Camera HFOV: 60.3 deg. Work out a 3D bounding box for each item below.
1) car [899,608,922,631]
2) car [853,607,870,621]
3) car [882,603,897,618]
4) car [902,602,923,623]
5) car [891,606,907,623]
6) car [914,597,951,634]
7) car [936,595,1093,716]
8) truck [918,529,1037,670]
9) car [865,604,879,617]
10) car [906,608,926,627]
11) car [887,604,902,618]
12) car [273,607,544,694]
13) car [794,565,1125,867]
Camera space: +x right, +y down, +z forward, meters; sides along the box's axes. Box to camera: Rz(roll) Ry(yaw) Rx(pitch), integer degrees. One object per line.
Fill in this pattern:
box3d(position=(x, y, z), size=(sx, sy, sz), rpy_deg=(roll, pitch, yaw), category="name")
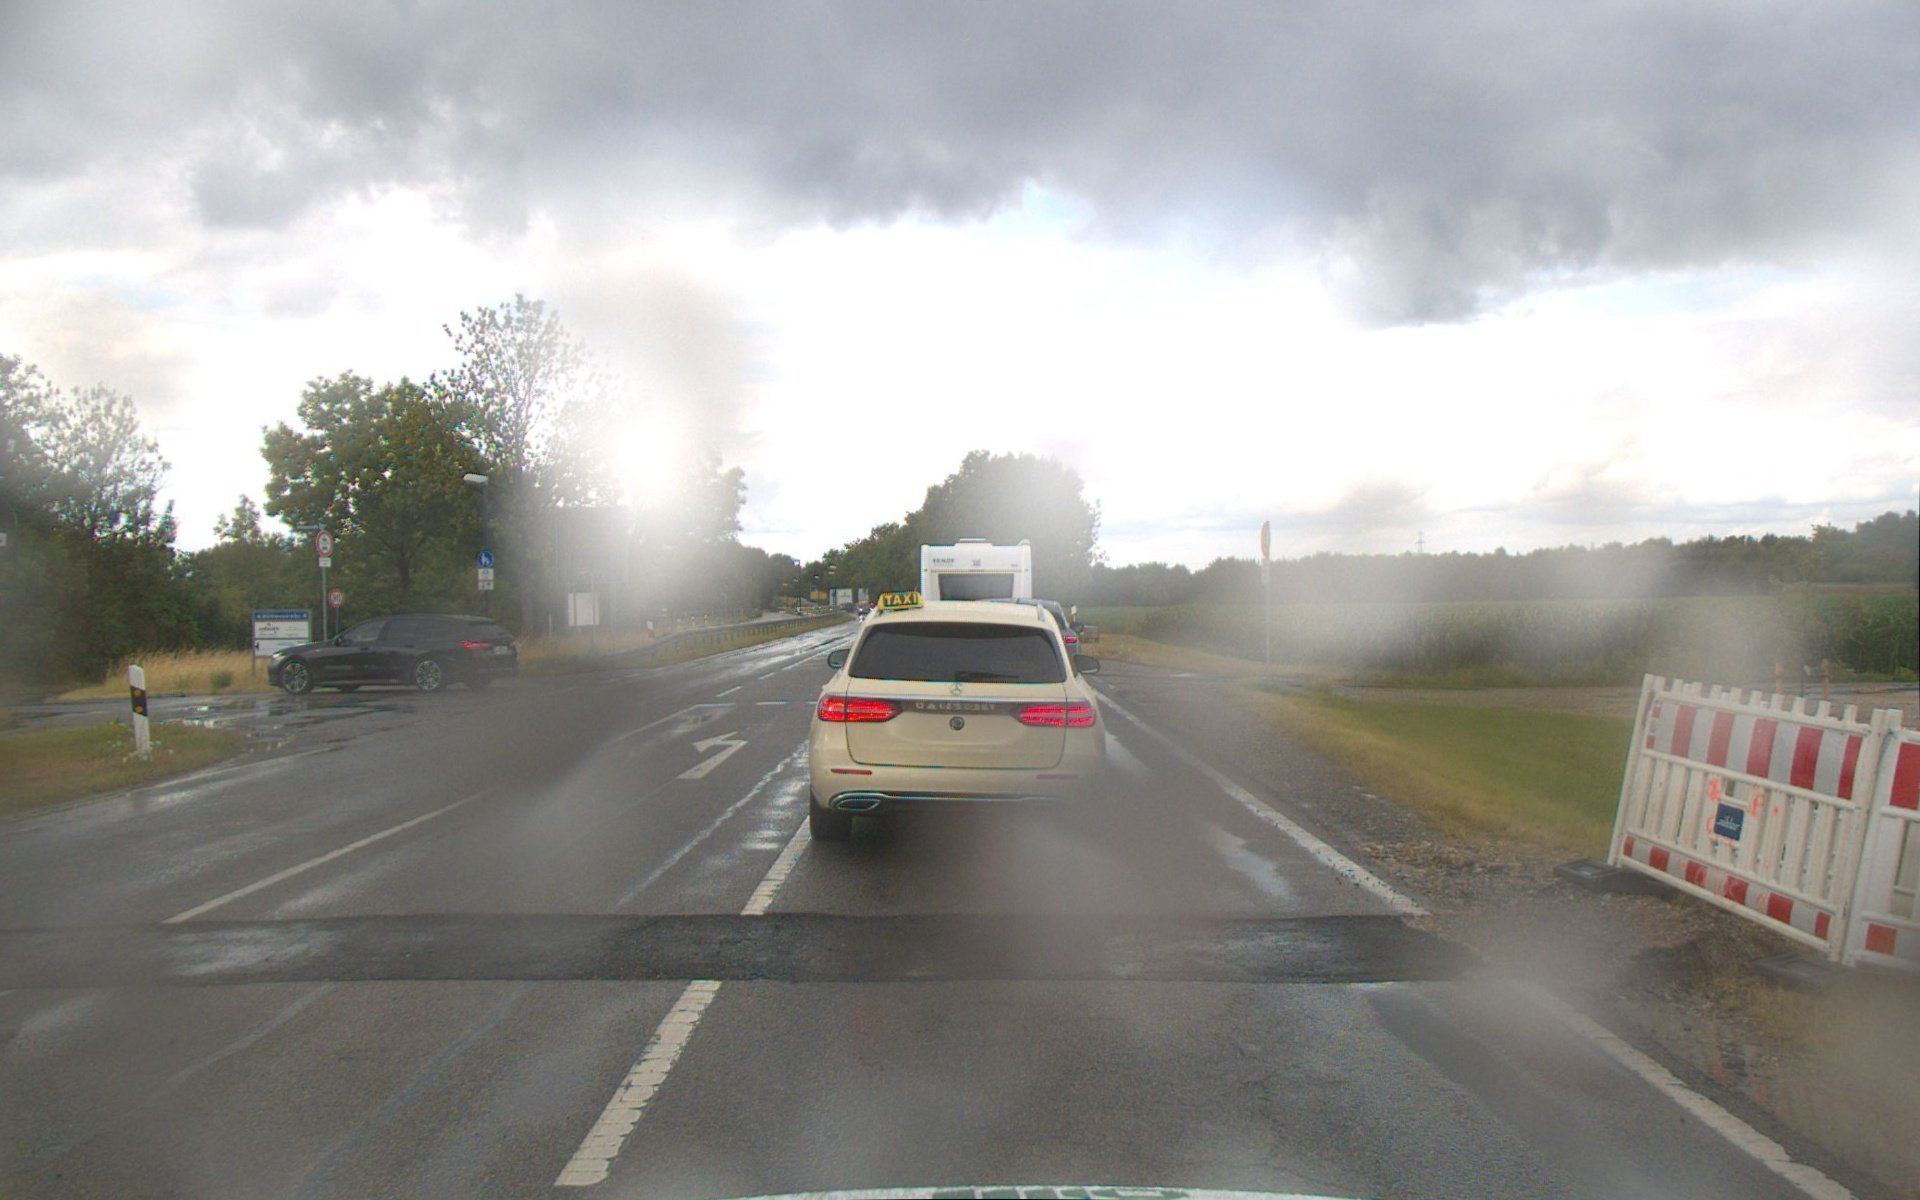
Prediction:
box3d(position=(-3.953, 1.563, 133.216), size=(1.755, 1.808, 3.720), rpy_deg=(-1, 0, -1), category="car")
box3d(position=(-12.229, 1.717, 205.289), size=(1.791, 1.601, 3.999), rpy_deg=(1, 0, 0), category="car")
box3d(position=(-9.065, 1.378, 213.204), size=(1.858, 1.928, 3.840), rpy_deg=(-1, 0, -4), category="car")
box3d(position=(-4.295, 1.116, 149.889), size=(1.841, 1.792, 3.833), rpy_deg=(-1, 0, -1), category="car")
box3d(position=(-6.904, 1.681, 188.085), size=(1.705, 1.892, 3.784), rpy_deg=(-1, 0, -1), category="car")
box3d(position=(-1.439, 0.817, 88.130), size=(1.876, 1.873, 3.795), rpy_deg=(-1, 0, -1), category="car")
box3d(position=(0.661, 0.714, 22.853), size=(1.953, 1.488, 3.999), rpy_deg=(1, 0, -1), category="car")
box3d(position=(0.301, -0.012, 36.570), size=(2.315, 2.776, 7.312), rpy_deg=(-1, 0, -1), category="truck")
box3d(position=(-12.844, 1.560, 241.416), size=(1.857, 1.872, 3.881), rpy_deg=(-1, 0, -1), category="car")
box3d(position=(-4.293, 1.677, 162.074), size=(1.953, 1.803, 3.999), rpy_deg=(-1, 0, -1), category="car")
box3d(position=(-8.054, 1.326, 202.547), size=(1.714, 1.691, 3.670), rpy_deg=(-1, 0, -3), category="car")
box3d(position=(-10.880, 0.968, 32.796), size=(4.518, 1.574, 2.311), rpy_deg=(1, 0, 12), category="car")
box3d(position=(-0.029, 0.648, 11.099), size=(1.805, 1.646, 3.999), rpy_deg=(0, 0, -1), category="car")
